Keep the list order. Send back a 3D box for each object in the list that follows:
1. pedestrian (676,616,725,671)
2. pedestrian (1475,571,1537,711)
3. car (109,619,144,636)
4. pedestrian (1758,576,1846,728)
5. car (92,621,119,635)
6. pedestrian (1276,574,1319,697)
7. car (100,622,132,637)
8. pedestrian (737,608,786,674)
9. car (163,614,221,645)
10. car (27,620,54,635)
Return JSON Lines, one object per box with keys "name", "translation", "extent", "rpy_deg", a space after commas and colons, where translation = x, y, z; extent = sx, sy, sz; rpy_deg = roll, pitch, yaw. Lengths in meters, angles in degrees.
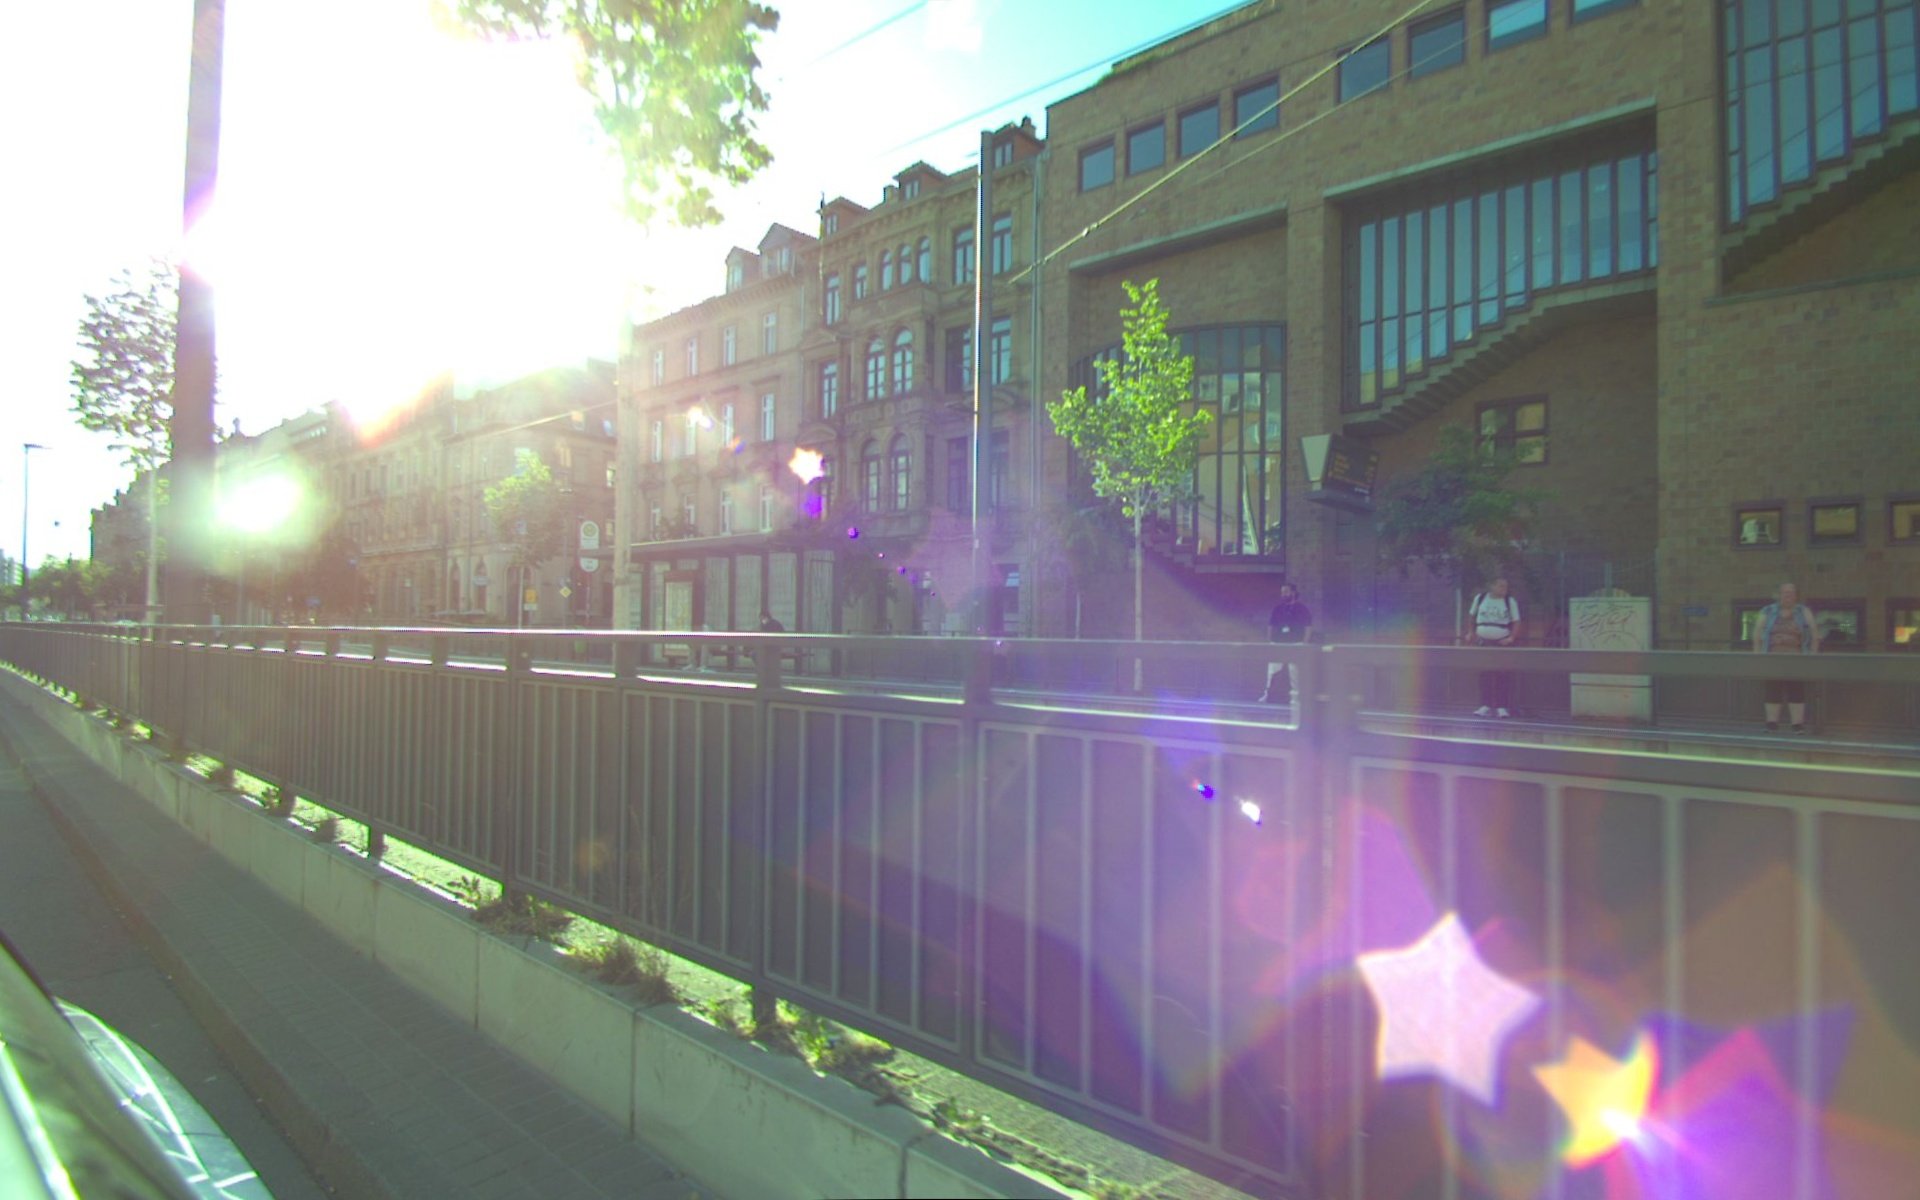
{"name": "pedestrian", "translation": [-5.669, 0.943, 22.111], "extent": [0.721, 1.177, 0.713], "rpy_deg": [-1, -4, 42]}
{"name": "pedestrian", "translation": [6.510, 0.476, 12.065], "extent": [0.553, 1.633, 0.374], "rpy_deg": [-1, 0, 42]}
{"name": "car", "translation": [-85.897, 2.840, 104.299], "extent": [4.885, 1.710, 1.973], "rpy_deg": [-1, 0, 41]}
{"name": "pedestrian", "translation": [8.498, 0.504, 10.215], "extent": [0.642, 1.470, 0.533], "rpy_deg": [-1, 0, 42]}
{"name": "car", "translation": [-95.462, 3.116, 113.039], "extent": [4.027, 1.490, 1.730], "rpy_deg": [-1, 0, 42]}
{"name": "pedestrian", "translation": [4.648, 0.483, 13.936], "extent": [0.416, 1.661, 0.374], "rpy_deg": [-1, 0, 42]}
{"name": "car", "translation": [-90.510, 3.141, 108.547], "extent": [4.983, 1.549, 1.972], "rpy_deg": [-1, 0, 42]}
{"name": "pedestrian", "translation": [-4.081, 0.842, 20.830], "extent": [0.721, 1.319, 0.639], "rpy_deg": [-1, -4, 42]}
{"name": "car", "translation": [-50.532, 1.923, 66.572], "extent": [4.578, 1.894, 1.974], "rpy_deg": [-1, 0, 39]}
{"name": "car", "translation": [-100.944, 2.986, 111.101], "extent": [4.476, 1.652, 1.777], "rpy_deg": [-1, -2, 43]}
